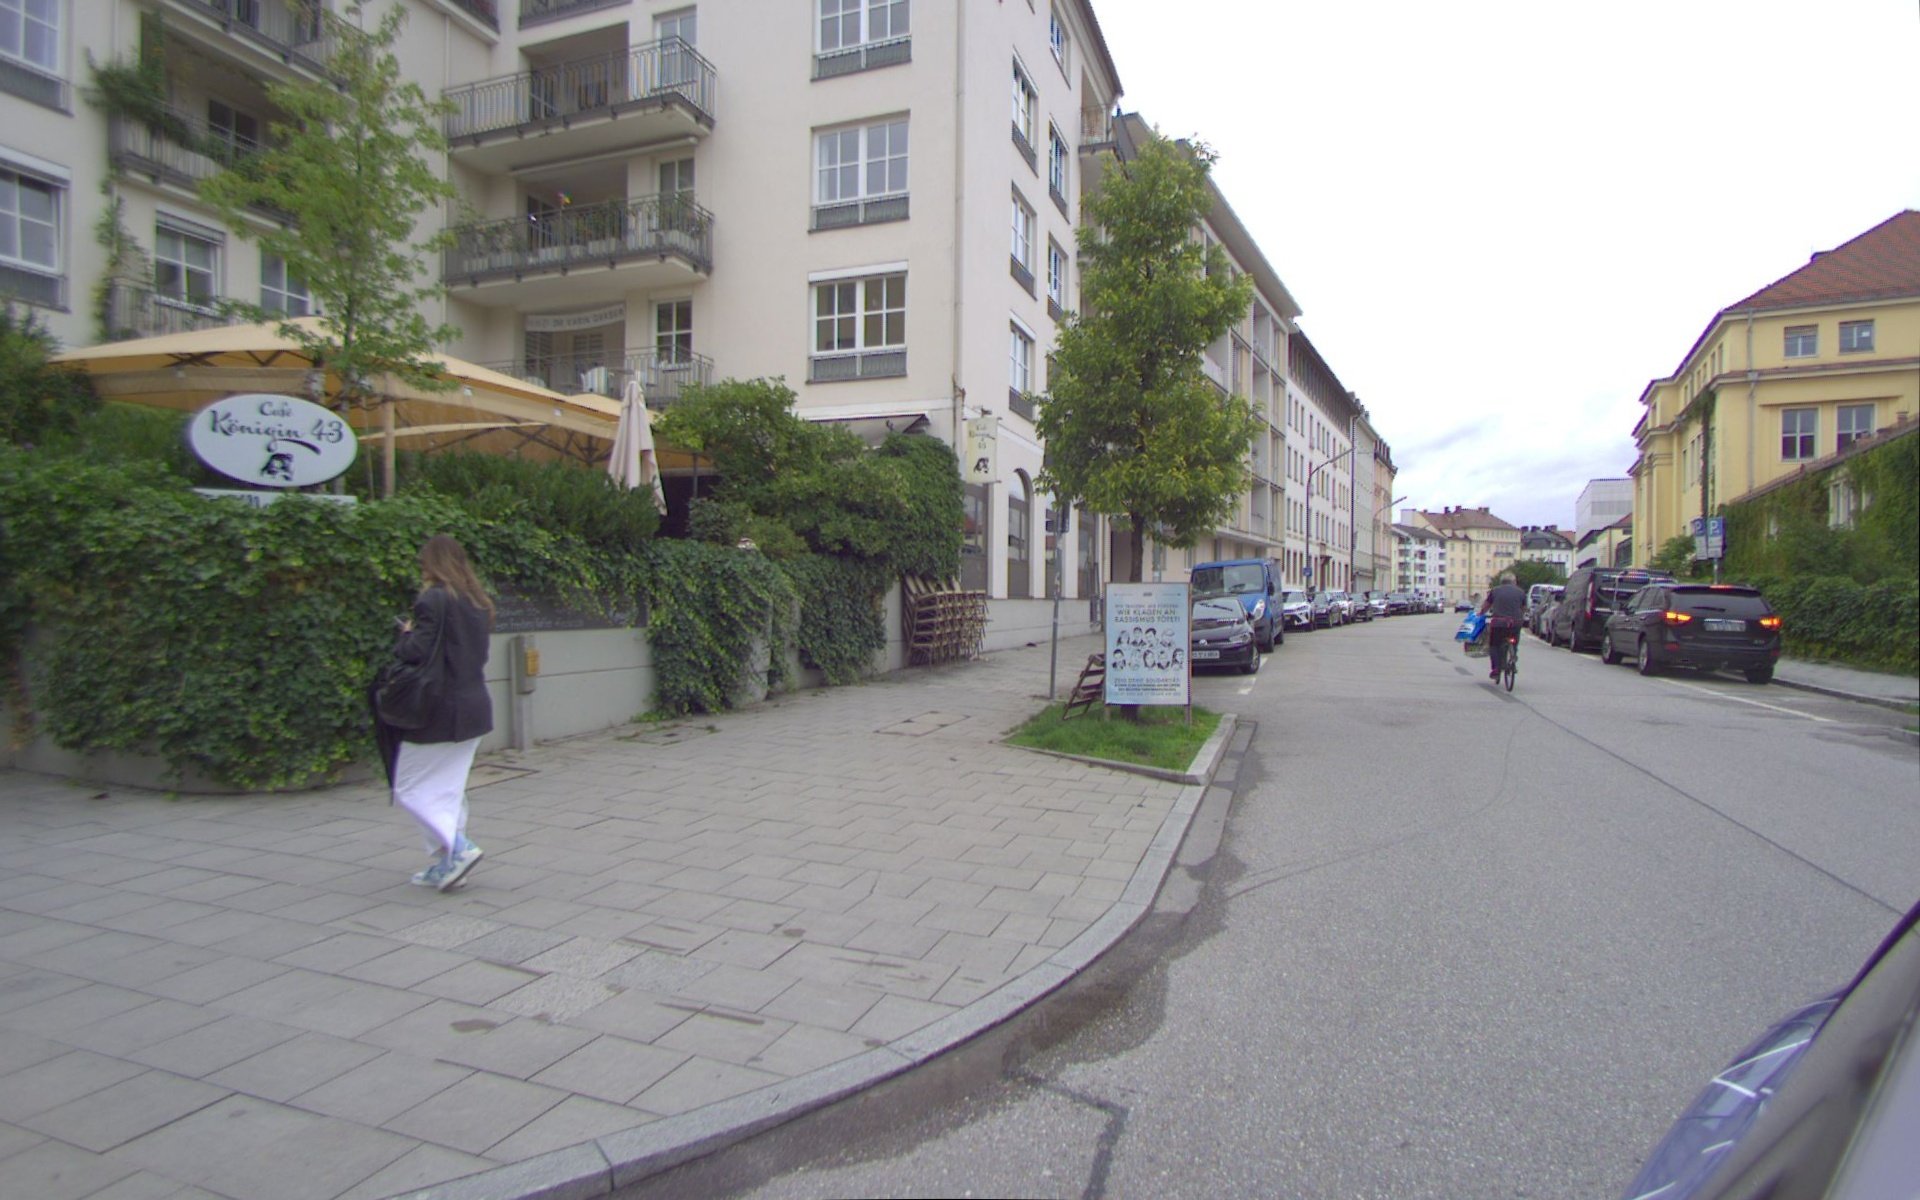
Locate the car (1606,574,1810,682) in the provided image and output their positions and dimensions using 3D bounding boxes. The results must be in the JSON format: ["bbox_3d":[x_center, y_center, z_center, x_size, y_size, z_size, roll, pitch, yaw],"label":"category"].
[{"bbox_3d":[13.905,0.426,19.151,1.914,1.730,4.593,2,1,21],"label":"car"}]

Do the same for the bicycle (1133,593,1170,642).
[{"bbox_3d":[4.471,0.385,23.500,0.481,1.066,2.168,2,1,20],"label":"bicycle"}]

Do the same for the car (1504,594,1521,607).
[{"bbox_3d":[70.839,0.066,129.758,1.757,1.549,3.956,0,0,31],"label":"car"}]

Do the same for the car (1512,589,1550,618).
[{"bbox_3d":[38.633,0.200,68.536,1.958,1.858,4.638,3,2,27],"label":"car"}]

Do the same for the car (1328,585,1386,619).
[{"bbox_3d":[19.298,0.096,49.080,1.877,1.473,4.552,-3,-1,30],"label":"car"}]

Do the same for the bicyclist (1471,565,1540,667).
[{"bbox_3d":[8.224,0.224,15.281,0.834,1.476,0.737,2,1,27],"label":"bicyclist"}]

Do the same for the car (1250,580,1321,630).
[{"bbox_3d":[11.570,0.173,35.753,1.961,1.582,4.678,-3,-1,22],"label":"car"}]

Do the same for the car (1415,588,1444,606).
[{"bbox_3d":[43.323,-0.274,93.359,1.877,1.473,4.689,-3,-1,30],"label":"car"}]

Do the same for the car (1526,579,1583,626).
[{"bbox_3d":[25.706,0.074,43.907,1.960,1.858,4.634,3,2,29],"label":"car"}]

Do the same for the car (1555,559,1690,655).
[{"bbox_3d":[16.364,0.127,25.262,1.955,2.097,4.645,3,1,23],"label":"car"}]

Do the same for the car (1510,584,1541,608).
[{"bbox_3d":[46.025,-0.317,82.455,1.958,1.858,4.638,3,2,27],"label":"car"}]

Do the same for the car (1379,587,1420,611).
[{"bbox_3d":[29.118,-0.058,67.007,1.877,1.473,4.689,-3,-1,30],"label":"car"}]

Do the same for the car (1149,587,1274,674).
[{"bbox_3d":[4.832,0.515,19.110,1.759,1.413,3.777,-3,0,22],"label":"car"}]

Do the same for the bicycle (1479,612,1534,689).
[{"bbox_3d":[8.231,0.729,15.281,0.617,1.030,1.702,2,1,26],"label":"bicycle"}]

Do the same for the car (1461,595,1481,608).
[{"bbox_3d":[53.552,0.126,106.094,1.778,1.358,3.798,0,0,28],"label":"car"}]

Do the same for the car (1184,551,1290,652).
[{"bbox_3d":[6.950,-0.019,25.026,1.960,2.196,4.681,-3,1,22],"label":"car"}]

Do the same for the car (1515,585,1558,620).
[{"bbox_3d":[32.751,0.125,57.547,1.959,1.858,4.635,3,2,29],"label":"car"}]

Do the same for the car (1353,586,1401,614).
[{"bbox_3d":[24.383,-0.007,59.050,1.877,1.473,4.689,-3,-1,30],"label":"car"}]

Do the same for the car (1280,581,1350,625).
[{"bbox_3d":[14.229,0.138,40.404,1.942,1.582,4.567,-3,-1,27],"label":"car"}]

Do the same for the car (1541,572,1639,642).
[{"bbox_3d":[18.773,0.159,30.362,1.957,1.858,4.639,3,2,26],"label":"car"}]

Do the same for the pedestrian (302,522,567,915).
[{"bbox_3d":[-2.426,0.493,4.719,0.869,1.643,0.703,0,0,19],"label":"pedestrian"}]

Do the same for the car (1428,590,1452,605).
[{"bbox_3d":[50.721,-0.295,106.892,1.877,1.473,4.689,-3,-1,30],"label":"car"}]

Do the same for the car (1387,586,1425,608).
[{"bbox_3d":[31.875,-0.218,72.229,1.877,1.473,4.689,-3,-1,30],"label":"car"}]

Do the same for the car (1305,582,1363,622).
[{"bbox_3d":[16.584,0.091,44.748,1.899,1.582,4.051,-3,-1,27],"label":"car"}]

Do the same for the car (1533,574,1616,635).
[{"bbox_3d":[21.005,0.111,34.751,1.957,1.858,4.639,3,2,26],"label":"car"}]

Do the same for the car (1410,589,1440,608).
[{"bbox_3d":[40.053,-0.128,87.090,1.877,1.473,4.689,-3,-1,30],"label":"car"}]
